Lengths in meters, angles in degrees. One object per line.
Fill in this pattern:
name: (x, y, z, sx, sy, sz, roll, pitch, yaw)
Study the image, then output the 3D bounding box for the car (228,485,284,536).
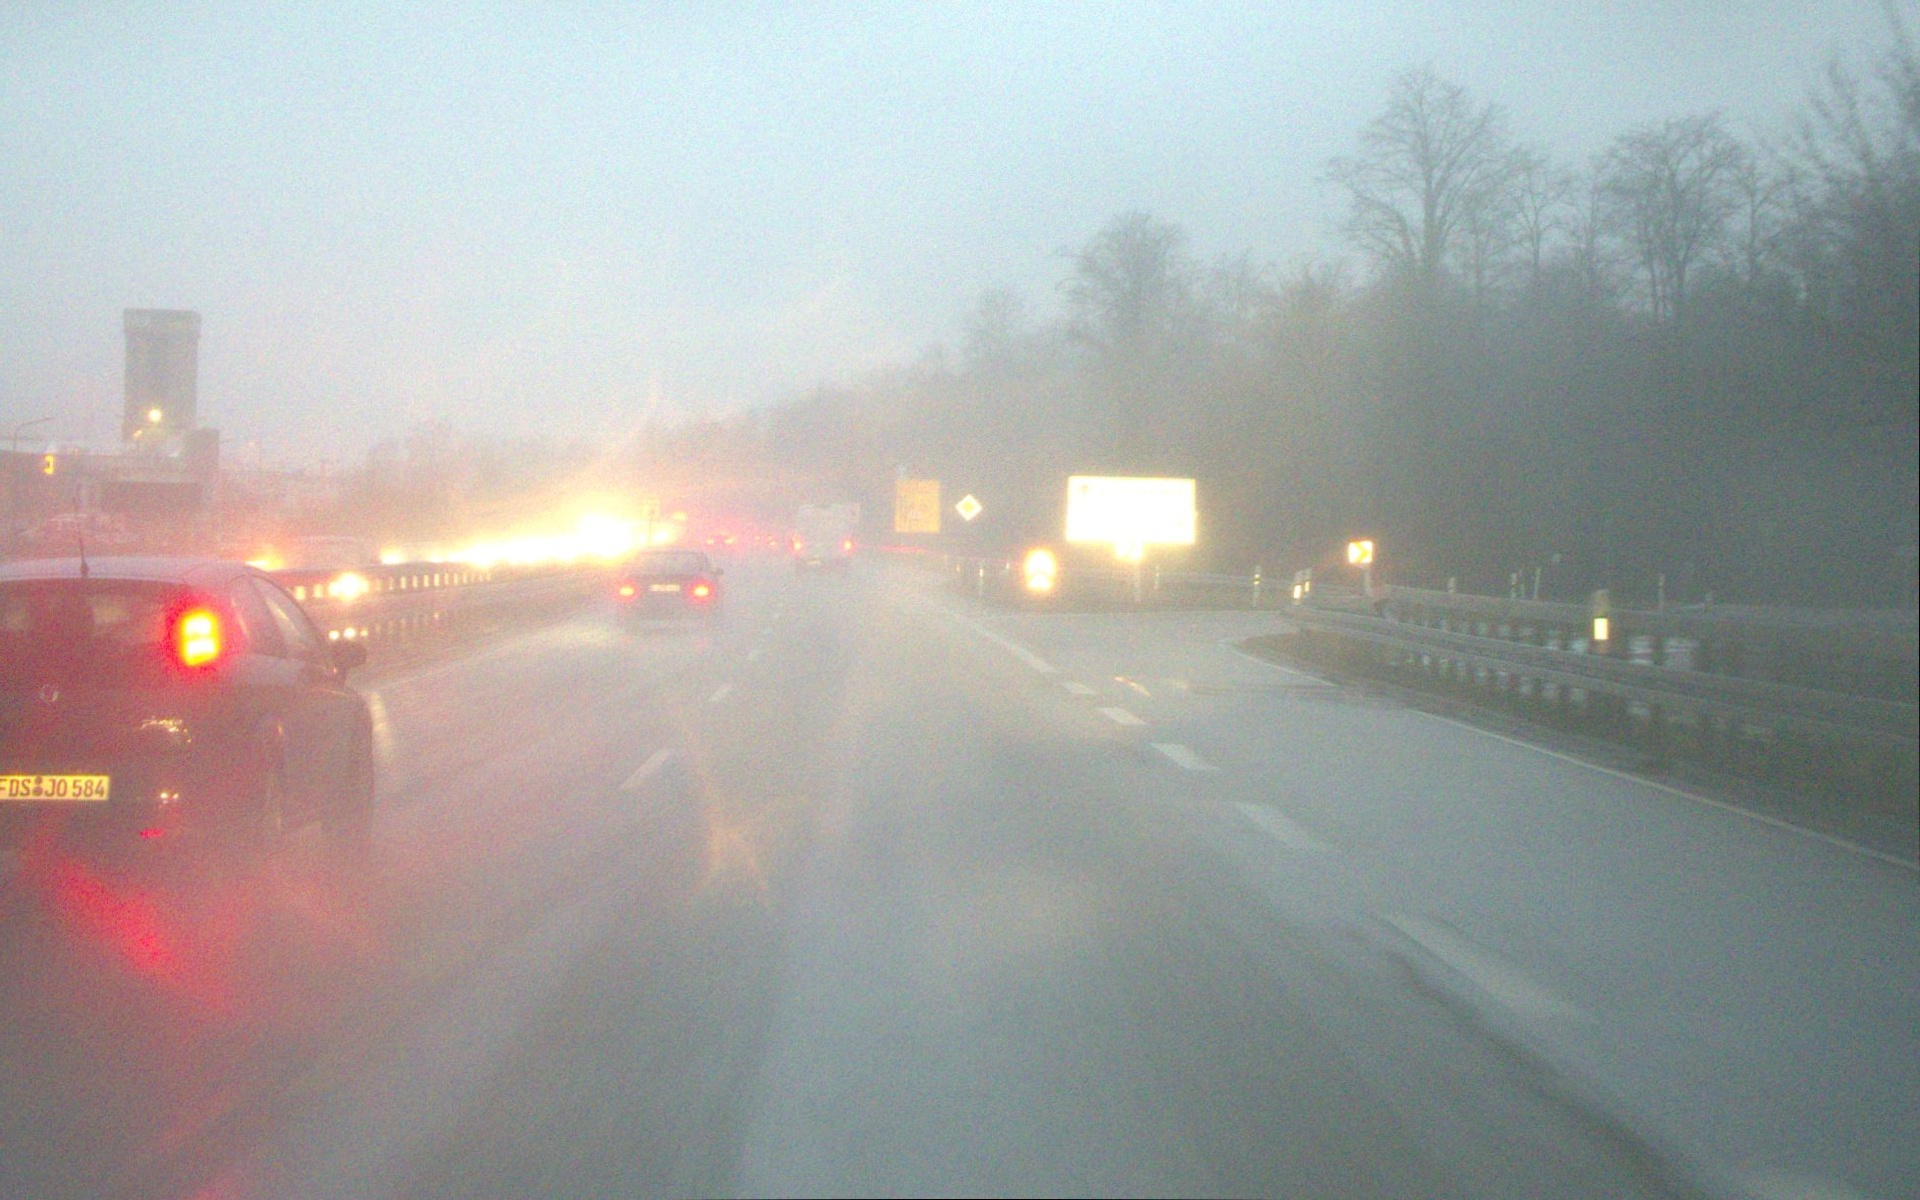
car: (-26.968, -3.425, 131.702, 1.890, 1.815, 3.875, 3, 1, -10)

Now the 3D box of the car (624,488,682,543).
car: (-12.600, -3.463, 140.853, 2.122, 2.113, 3.576, 2, 2, -8)

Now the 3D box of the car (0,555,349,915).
car: (-3.907, 0.556, 16.351, 1.527, 1.411, 3.479, 3, 1, -4)

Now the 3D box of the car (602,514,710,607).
car: (-5.269, -0.721, 59.975, 1.775, 1.529, 4.704, -1, 1, -4)
